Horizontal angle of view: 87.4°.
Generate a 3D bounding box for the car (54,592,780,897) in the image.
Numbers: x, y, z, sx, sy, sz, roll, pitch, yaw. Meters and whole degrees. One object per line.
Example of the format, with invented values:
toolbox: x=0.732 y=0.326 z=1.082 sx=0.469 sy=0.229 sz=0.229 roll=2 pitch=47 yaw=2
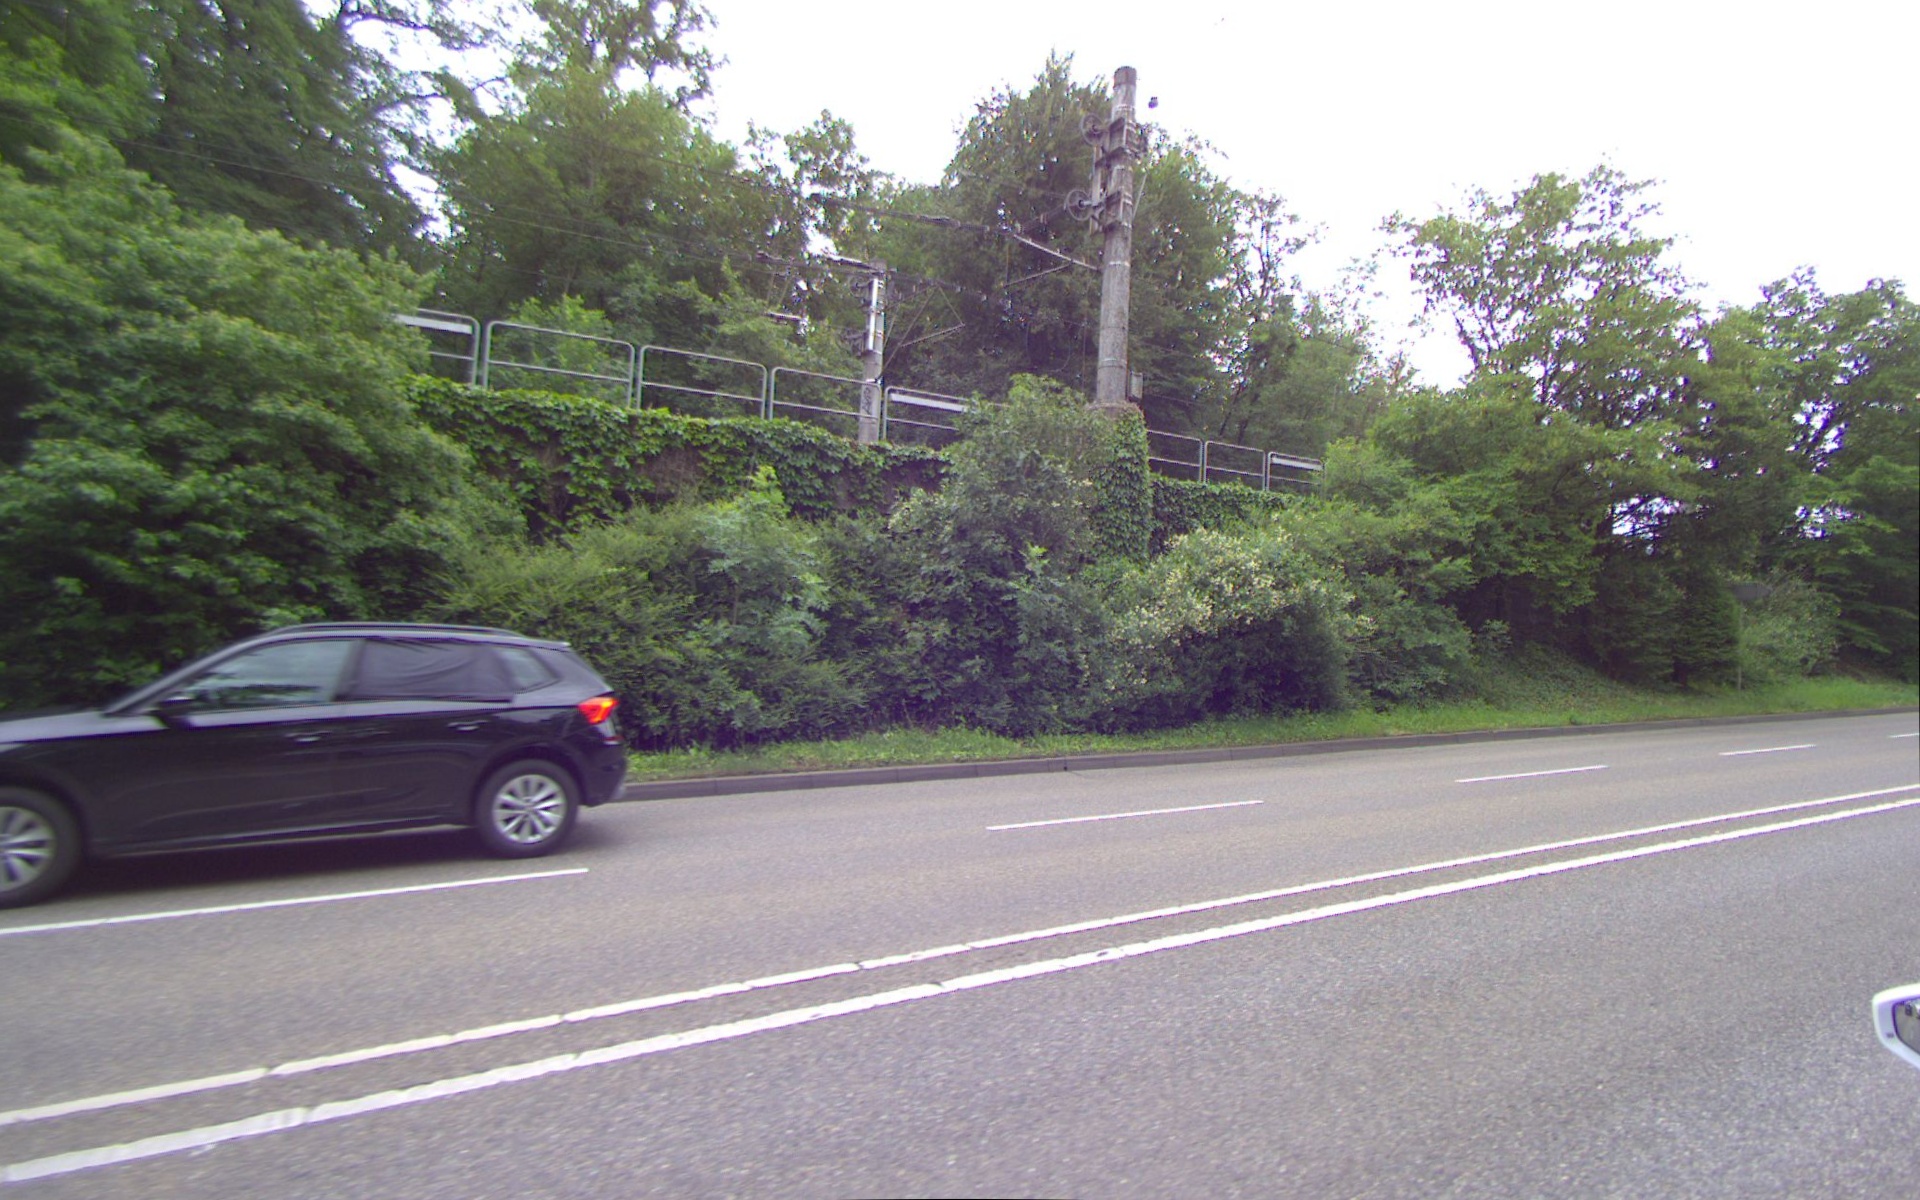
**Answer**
car: x=-3.494 y=0.875 z=7.137 sx=4.022 sy=1.617 sz=1.728 roll=2 pitch=-4 yaw=-31
